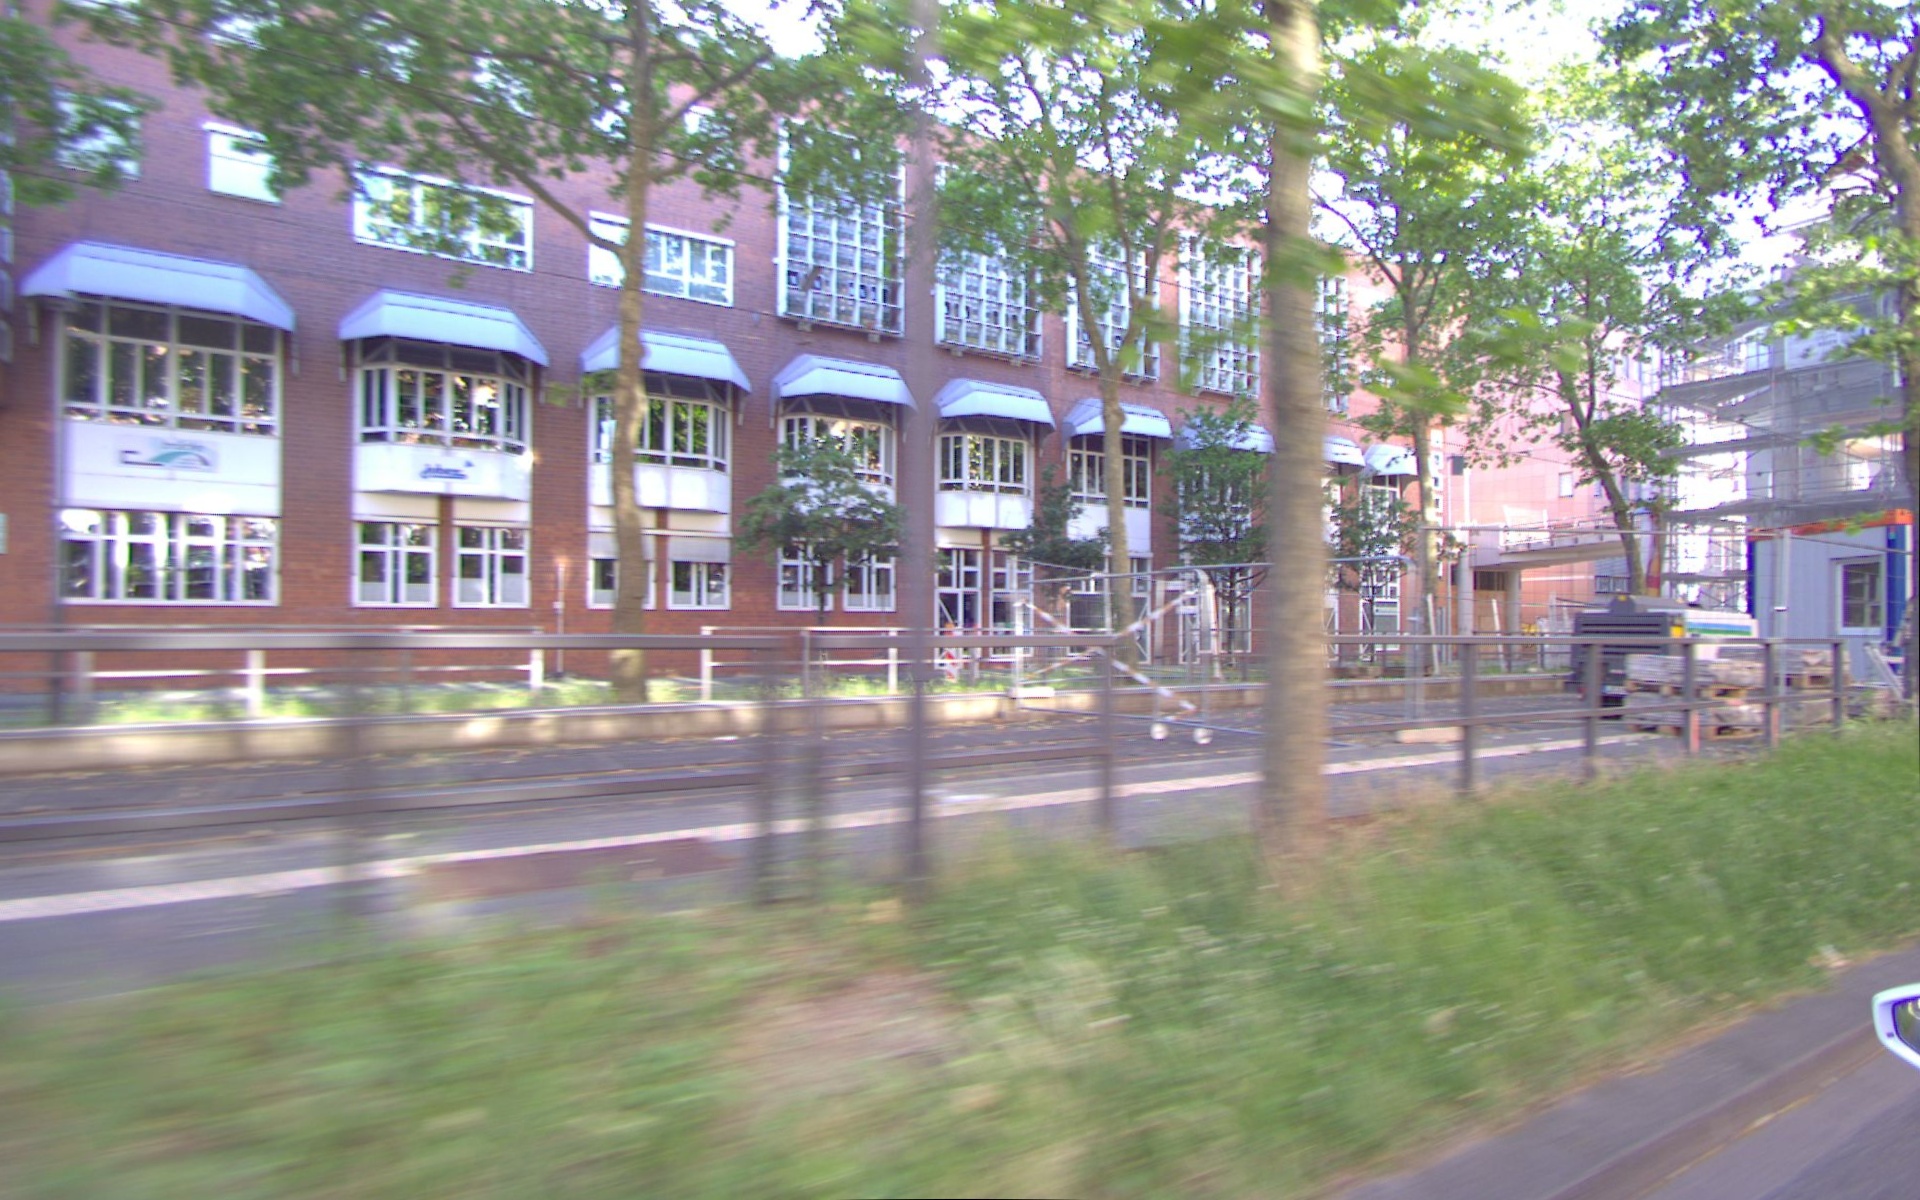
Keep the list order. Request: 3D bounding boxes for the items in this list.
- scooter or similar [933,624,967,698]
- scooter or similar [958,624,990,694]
[{"bbox_3d":[-0.245,1.487,24.632,0.570,1.749,0.525,2,0,-39],"label":"scooter or similar"},{"bbox_3d":[0.363,1.510,25.950,0.570,1.749,0.525,2,0,-39],"label":"scooter or similar"}]
